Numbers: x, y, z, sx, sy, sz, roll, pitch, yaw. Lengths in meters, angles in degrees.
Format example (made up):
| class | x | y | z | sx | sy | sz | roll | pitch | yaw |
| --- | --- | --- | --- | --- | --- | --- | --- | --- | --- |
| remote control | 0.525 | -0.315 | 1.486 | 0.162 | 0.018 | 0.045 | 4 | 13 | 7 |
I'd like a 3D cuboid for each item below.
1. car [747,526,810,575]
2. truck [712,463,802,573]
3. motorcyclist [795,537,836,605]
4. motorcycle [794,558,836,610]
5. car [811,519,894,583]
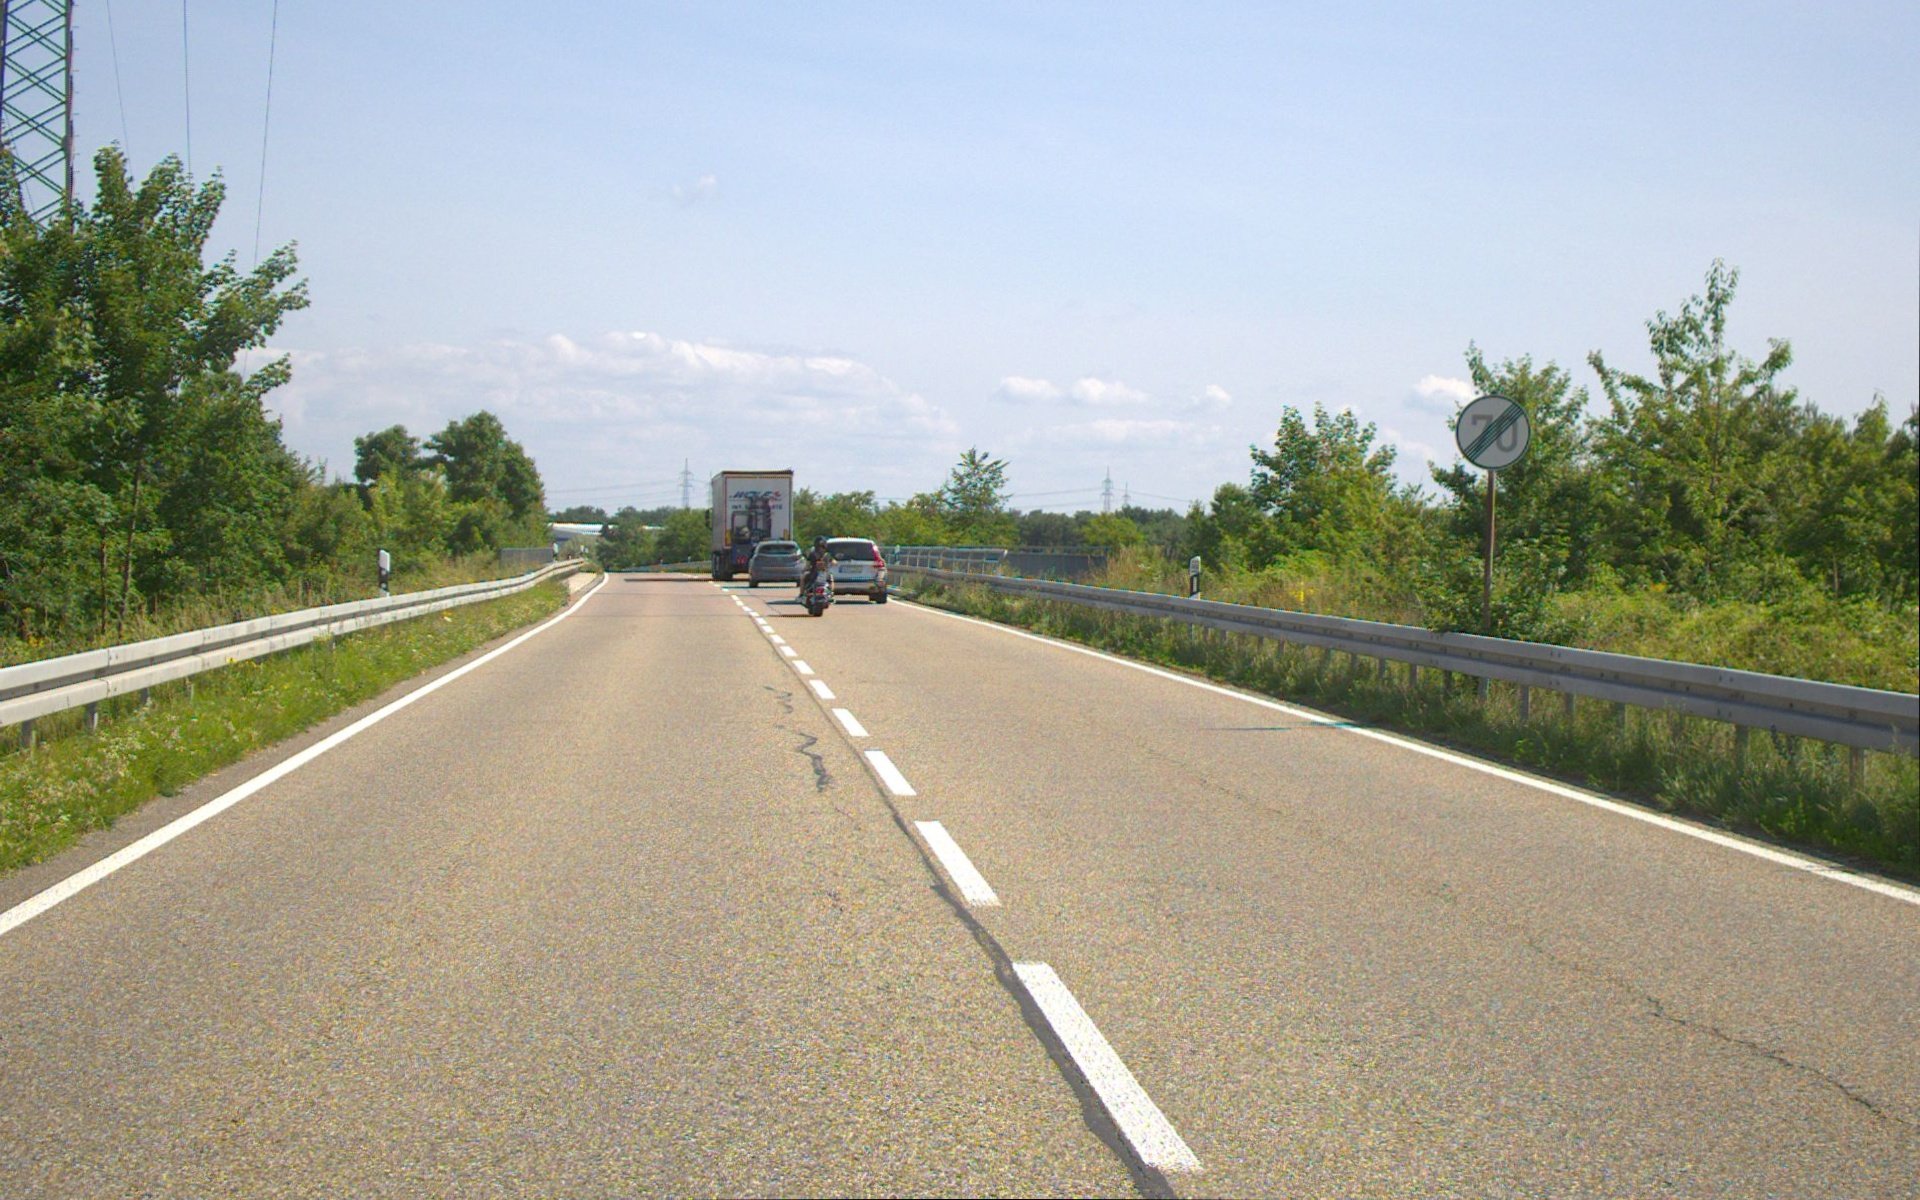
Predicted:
| class | x | y | z | sx | sy | sz | roll | pitch | yaw |
| --- | --- | --- | --- | --- | --- | --- | --- | --- | --- |
| car | -5.615 | -1.536 | 105.892 | 1.865 | 1.415 | 4.001 | 1 | 1 | -4 |
| truck | -7.673 | -3.048 | 129.782 | 3.241 | 3.965 | 9.445 | 0 | 1 | -3 |
| motorcyclist | -2.844 | -0.575 | 67.639 | 0.780 | 1.321 | 0.813 | 0 | 1 | -3 |
| motorcycle | -2.855 | -0.329 | 67.624 | 0.780 | 0.972 | 2.362 | 0 | 2 | -3 |
| car | -2.581 | -1.187 | 81.952 | 1.825 | 1.446 | 4.001 | 0 | 2 | -4 |
